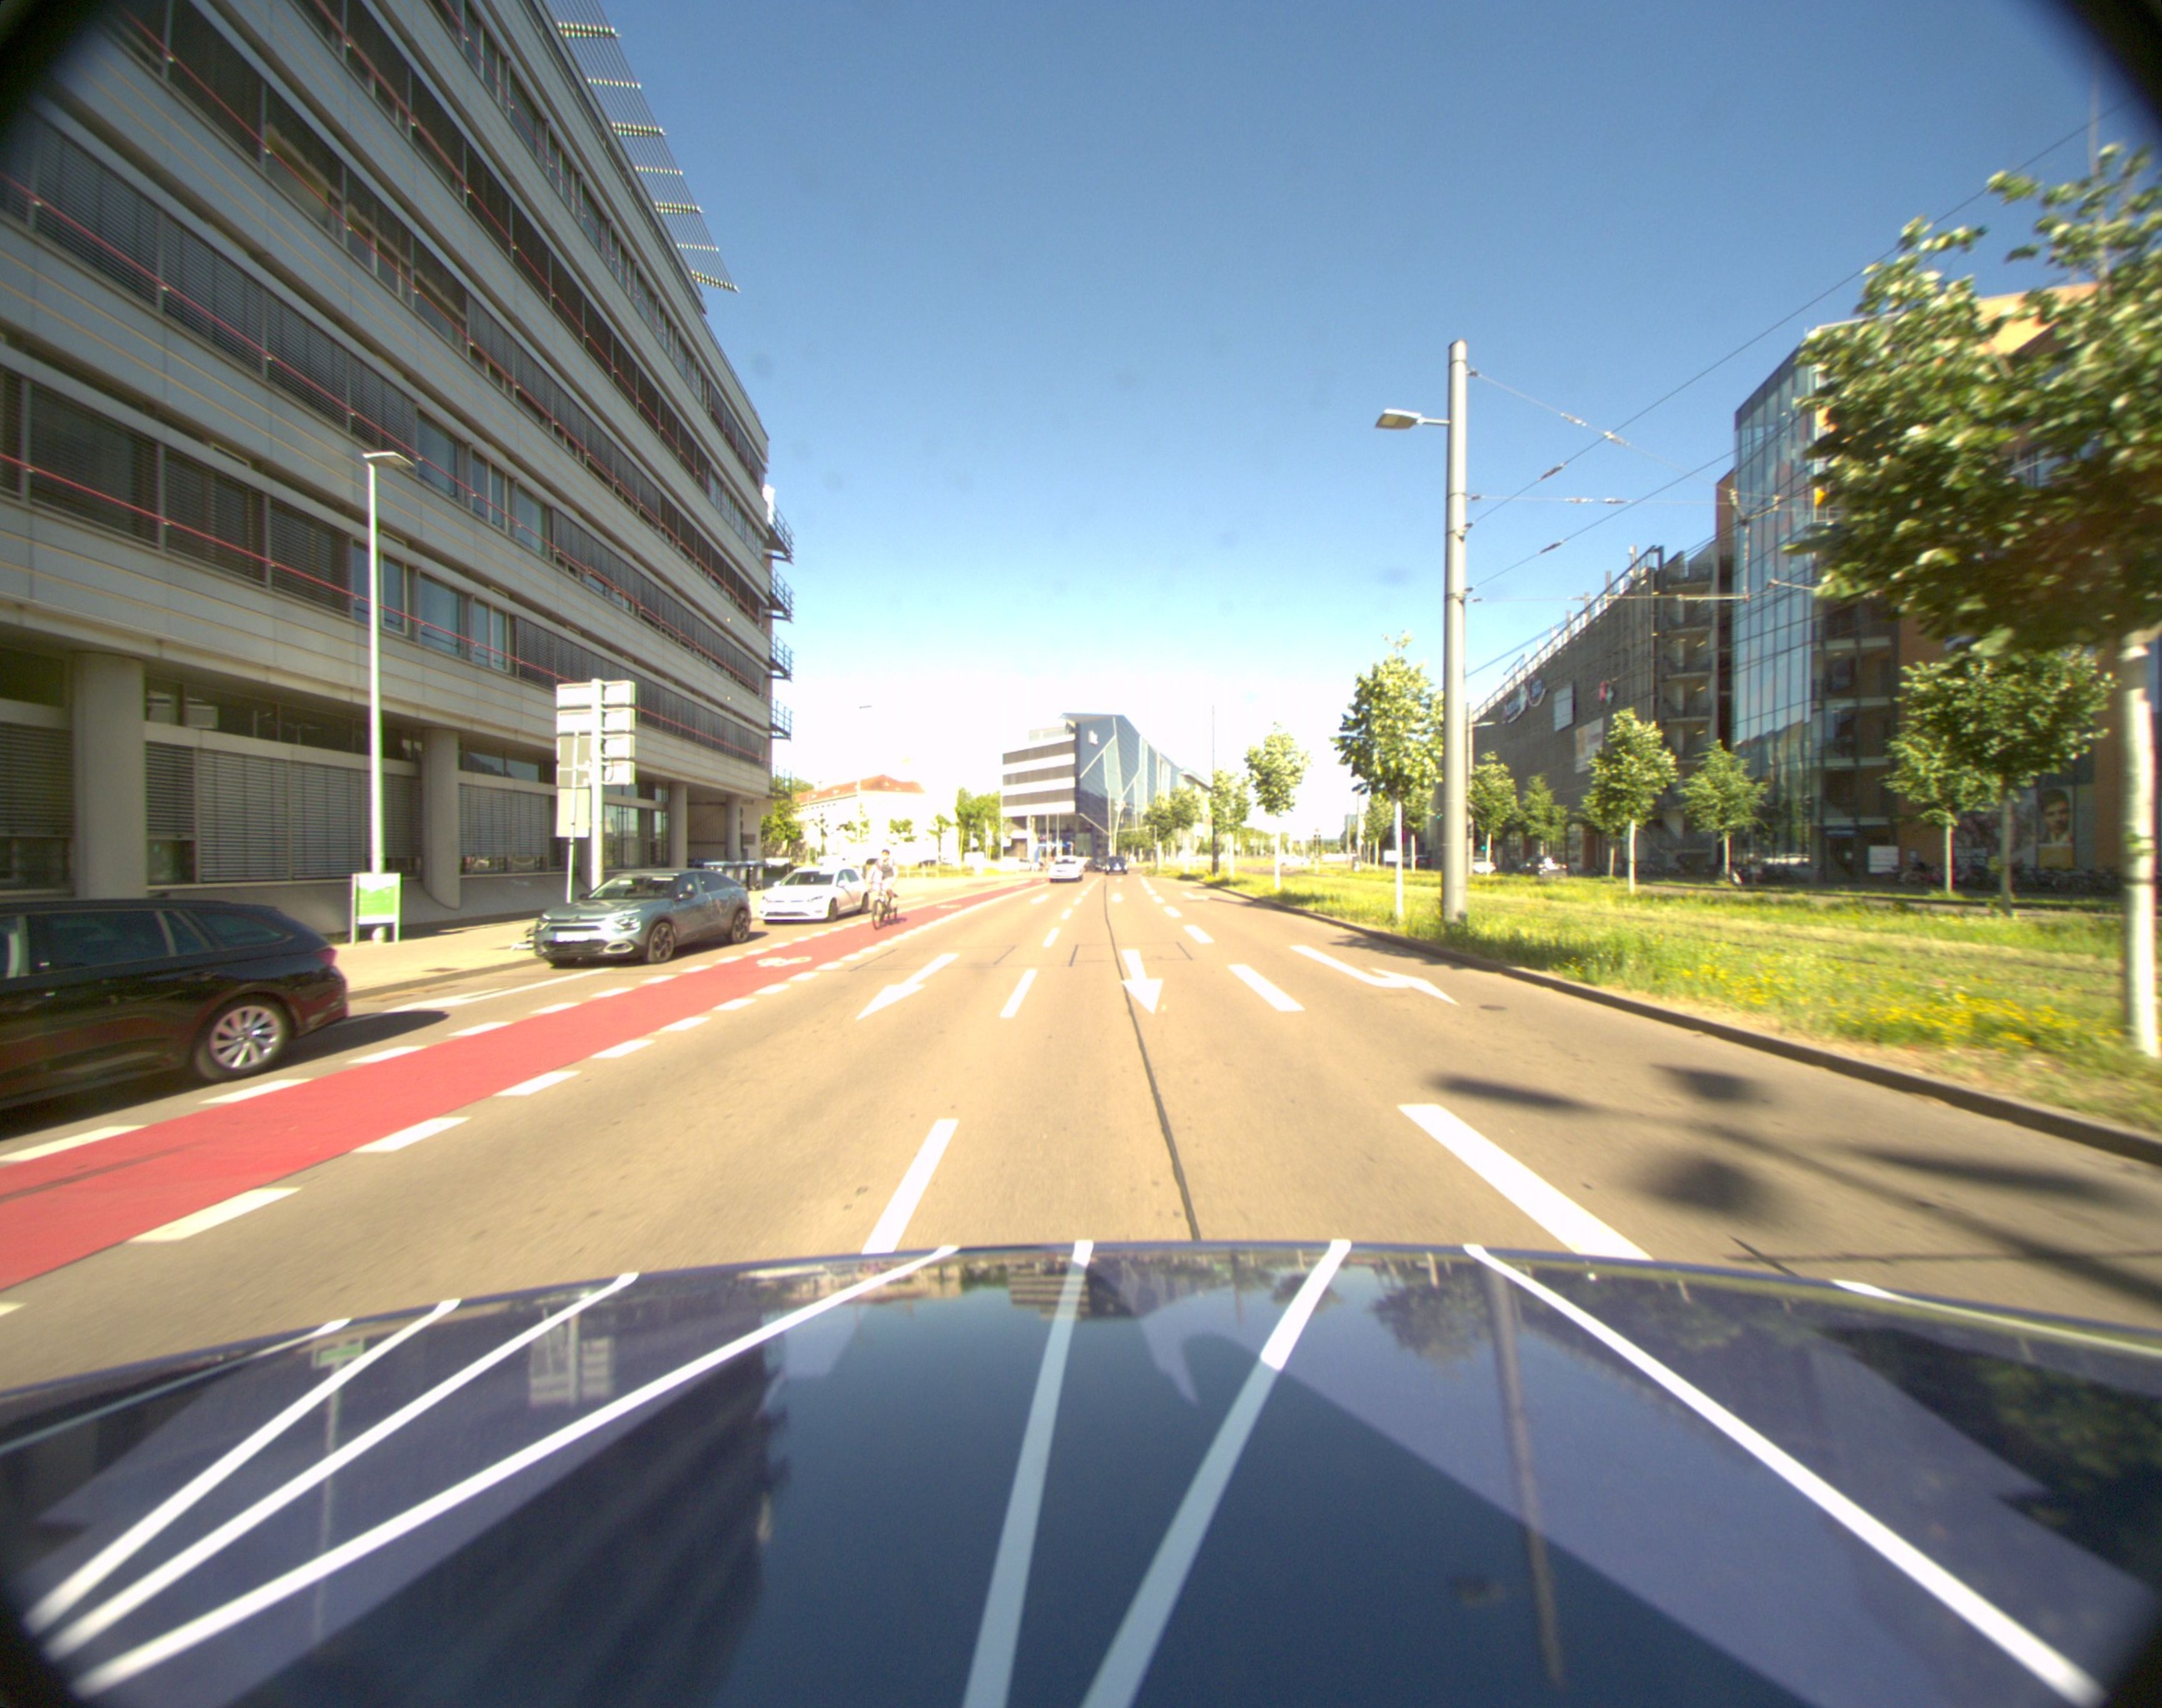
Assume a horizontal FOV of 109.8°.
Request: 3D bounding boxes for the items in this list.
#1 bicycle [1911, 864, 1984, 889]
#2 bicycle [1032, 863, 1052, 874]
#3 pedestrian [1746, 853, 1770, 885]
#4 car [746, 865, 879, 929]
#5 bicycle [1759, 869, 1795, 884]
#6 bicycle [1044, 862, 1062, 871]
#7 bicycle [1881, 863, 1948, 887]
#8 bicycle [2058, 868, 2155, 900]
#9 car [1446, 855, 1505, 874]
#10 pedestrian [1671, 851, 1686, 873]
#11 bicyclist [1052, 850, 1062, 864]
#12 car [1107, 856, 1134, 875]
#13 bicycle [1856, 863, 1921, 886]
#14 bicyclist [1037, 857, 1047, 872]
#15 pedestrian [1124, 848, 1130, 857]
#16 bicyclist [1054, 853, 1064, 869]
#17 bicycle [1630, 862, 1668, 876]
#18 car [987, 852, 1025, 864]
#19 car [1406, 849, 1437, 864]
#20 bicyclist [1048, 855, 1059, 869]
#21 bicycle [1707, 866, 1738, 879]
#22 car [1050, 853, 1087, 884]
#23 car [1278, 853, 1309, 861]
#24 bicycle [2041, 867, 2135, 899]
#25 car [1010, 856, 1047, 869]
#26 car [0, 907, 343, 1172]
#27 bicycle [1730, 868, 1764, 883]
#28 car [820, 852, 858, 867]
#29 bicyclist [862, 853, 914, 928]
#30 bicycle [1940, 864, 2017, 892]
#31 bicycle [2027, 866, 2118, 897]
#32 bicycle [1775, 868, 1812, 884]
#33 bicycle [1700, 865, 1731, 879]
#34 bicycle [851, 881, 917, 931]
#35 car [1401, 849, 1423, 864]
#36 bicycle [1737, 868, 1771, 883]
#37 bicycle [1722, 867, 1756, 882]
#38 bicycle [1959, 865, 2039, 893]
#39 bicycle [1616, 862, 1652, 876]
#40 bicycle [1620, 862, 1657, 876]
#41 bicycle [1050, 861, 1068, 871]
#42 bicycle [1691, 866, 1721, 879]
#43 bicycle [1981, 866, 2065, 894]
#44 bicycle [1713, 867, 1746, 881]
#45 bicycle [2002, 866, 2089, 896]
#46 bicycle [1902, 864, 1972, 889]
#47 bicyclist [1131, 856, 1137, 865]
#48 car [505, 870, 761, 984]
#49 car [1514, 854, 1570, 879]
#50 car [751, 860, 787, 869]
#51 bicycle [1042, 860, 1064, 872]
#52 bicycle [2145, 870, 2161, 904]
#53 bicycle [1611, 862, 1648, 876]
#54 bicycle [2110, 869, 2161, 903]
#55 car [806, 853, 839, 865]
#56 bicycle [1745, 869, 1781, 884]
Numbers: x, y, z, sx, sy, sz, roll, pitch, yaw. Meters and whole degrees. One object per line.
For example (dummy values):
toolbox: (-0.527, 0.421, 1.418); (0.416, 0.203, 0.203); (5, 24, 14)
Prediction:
bicycle: (39.253, 1.017, 34.438); (2.177, 1.117, 0.754); (-1, 0, 10)
bicycle: (-4.392, 1.615, 84.893); (2.007, 1.098, 0.698); (3, -2, 17)
pedestrian: (36.440, 0.795, 40.930); (0.597, 1.675, 0.778); (0, 1, 2)
car: (-7.020, 1.075, 20.407); (1.777, 1.395, 4.294); (-2, 0, 4)
bicycle: (38.232, 1.239, 41.765); (1.449, 0.814, 0.446); (-1, 1, 10)
bicycle: (-2.880, 1.298, 78.504); (1.704, 0.948, 0.698); (1, 0, 15)
bicycle: (40.023, 1.016, 36.503); (2.177, 1.117, 0.754); (-1, 0, 10)
bicycle: (37.005, 1.082, 27.447); (2.177, 1.117, 0.754); (-1, 0, 10)
car: (28.554, 0.721, 55.152); (1.998, 1.326, 4.791); (0, 0, 3)
pedestrian: (41.428, 0.551, 52.661); (0.636, 1.544, 0.662); (0, 1, 22)
bicyclist: (-2.489, 0.296, 78.376); (0.825, 1.395, 0.590); (1, 0, 15)
car: (3.351, 0.958, 64.003); (1.872, 1.547, 4.003); (0, 0, 9)
bicycle: (39.951, 1.007, 37.604); (2.177, 1.117, 0.754); (-1, 0, 10)
bicyclist: (-4.372, 1.156, 84.923); (1.001, 1.644, 0.596); (0, 0, 16)
pedestrian: (7.803, -0.326, 129.948); (0.855, 1.546, 0.614); (0, 1, 21)
bicyclist: (-2.390, 0.774, 83.434); (0.905, 1.787, 0.550); (1, 0, 10)
bicycle: (40.483, 1.071, 54.124); (2.177, 0.949, 0.493); (-1, 1, 10)
car: (-9.564, 0.512, 97.089); (4.474, 1.423, 1.843); (0, 2, 16)
car: (39.524, 0.267, 88.262); (1.997, 1.671, 4.540); (0, 0, 6)
bicyclist: (-2.662, 0.775, 73.707); (0.736, 1.369, 0.698); (2, -1, 24)
bicycle: (39.386, 1.131, 46.652); (1.449, 0.814, 0.446); (-1, 1, 10)
car: (-0.740, 0.872, 48.492); (1.873, 1.621, 4.337); (0, 3, 5)
car: (30.278, 0.448, 108.245); (3.990, 1.084, 2.003); (0, 0, 25)
bicycle: (37.403, 1.067, 28.251); (2.177, 1.117, 0.754); (-1, 0, 10)
car: (-6.344, 1.036, 91.602); (3.992, 1.547, 1.877); (0, 1, 17)
car: (-7.250, 1.173, 4.249); (1.726, 1.414, 4.637); (0, 0, 0)
bicycle: (38.350, 1.225, 43.771); (1.449, 0.814, 0.446); (-1, 1, 10)
car: (-31.830, 0.684, 99.904); (4.644, 1.970, 1.878); (0, 1, 20)
bicyclist: (-4.514, 0.832, 17.870); (0.808, 1.683, 1.052); (-2, 0, 7)
bicycle: (38.786, 1.033, 32.853); (2.177, 1.117, 0.754); (-1, 0, 10)
bicycle: (37.793, 1.044, 28.986); (2.177, 1.117, 0.754); (-1, 0, 10)
bicycle: (38.295, 1.183, 40.833); (1.449, 0.814, 0.446); (-1, 1, 10)
bicycle: (39.404, 1.116, 47.193); (1.449, 0.814, 0.446); (-1, 1, 10)
bicycle: (-4.586, 1.195, 17.810); (0.827, 1.030, 1.892); (-2, 0, 7)
car: (46.635, 0.361, 106.998); (2.222, 2.002, 5.266); (0, 0, 30)
bicycle: (38.285, 1.243, 43.224); (1.449, 0.814, 0.446); (-1, 1, 10)
bicycle: (38.449, 1.207, 44.412); (1.449, 0.814, 0.446); (-1, 1, 10)
bicycle: (38.498, 1.047, 31.882); (2.177, 1.117, 0.754); (-1, 0, 10)
bicycle: (40.741, 1.086, 55.998); (2.177, 0.949, 0.493); (-1, 1, 10)
bicycle: (40.638, 1.098, 55.382); (2.177, 0.949, 0.493); (-1, 1, 10)
bicycle: (-2.451, 1.291, 83.451); (1.893, 1.032, 0.607); (1, 0, 10)
bicycle: (39.466, 1.162, 48.001); (1.449, 0.814, 0.446); (-1, 1, 10)
bicycle: (38.253, 1.052, 30.868); (2.177, 1.117, 0.754); (-1, 0, 10)
bicycle: (38.708, 1.172, 45.350); (1.449, 0.814, 0.446); (-1, 1, 10)
bicycle: (38.009, 1.049, 29.976); (2.177, 1.117, 0.754); (-1, 0, 10)
bicycle: (39.708, 1.035, 35.268); (2.177, 1.117, 0.754); (-1, 0, 10)
bicyclist: (8.293, 0.951, 119.143); (0.760, 1.402, 0.773); (0, 1, 28)
car: (-7.442, 1.111, 13.246); (1.726, 1.515, 4.399); (-2, 0, 1)
car: (26.764, 0.704, 44.199); (1.431, 1.351, 3.296); (0, 0, 3)
car: (-42.983, 1.409, 104.690); (4.644, 1.263, 1.878); (0, 0, 21)
bicycle: (-2.700, 1.174, 73.716); (2.006, 1.098, 0.698); (1, -1, 25)
bicycle: (36.877, 1.091, 25.049); (2.177, 1.117, 0.754); (-1, 0, 10)
bicycle: (40.825, 1.113, 56.562); (2.177, 0.949, 0.493); (-1, 1, 10)
bicycle: (37.057, 1.072, 26.054); (2.177, 1.117, 0.754); (-1, 0, 10)
car: (-35.750, 0.689, 105.080); (3.991, 1.547, 1.878); (0, 1, 21)
bicycle: (38.265, 1.242, 42.639); (1.449, 0.814, 0.446); (-1, 1, 10)
